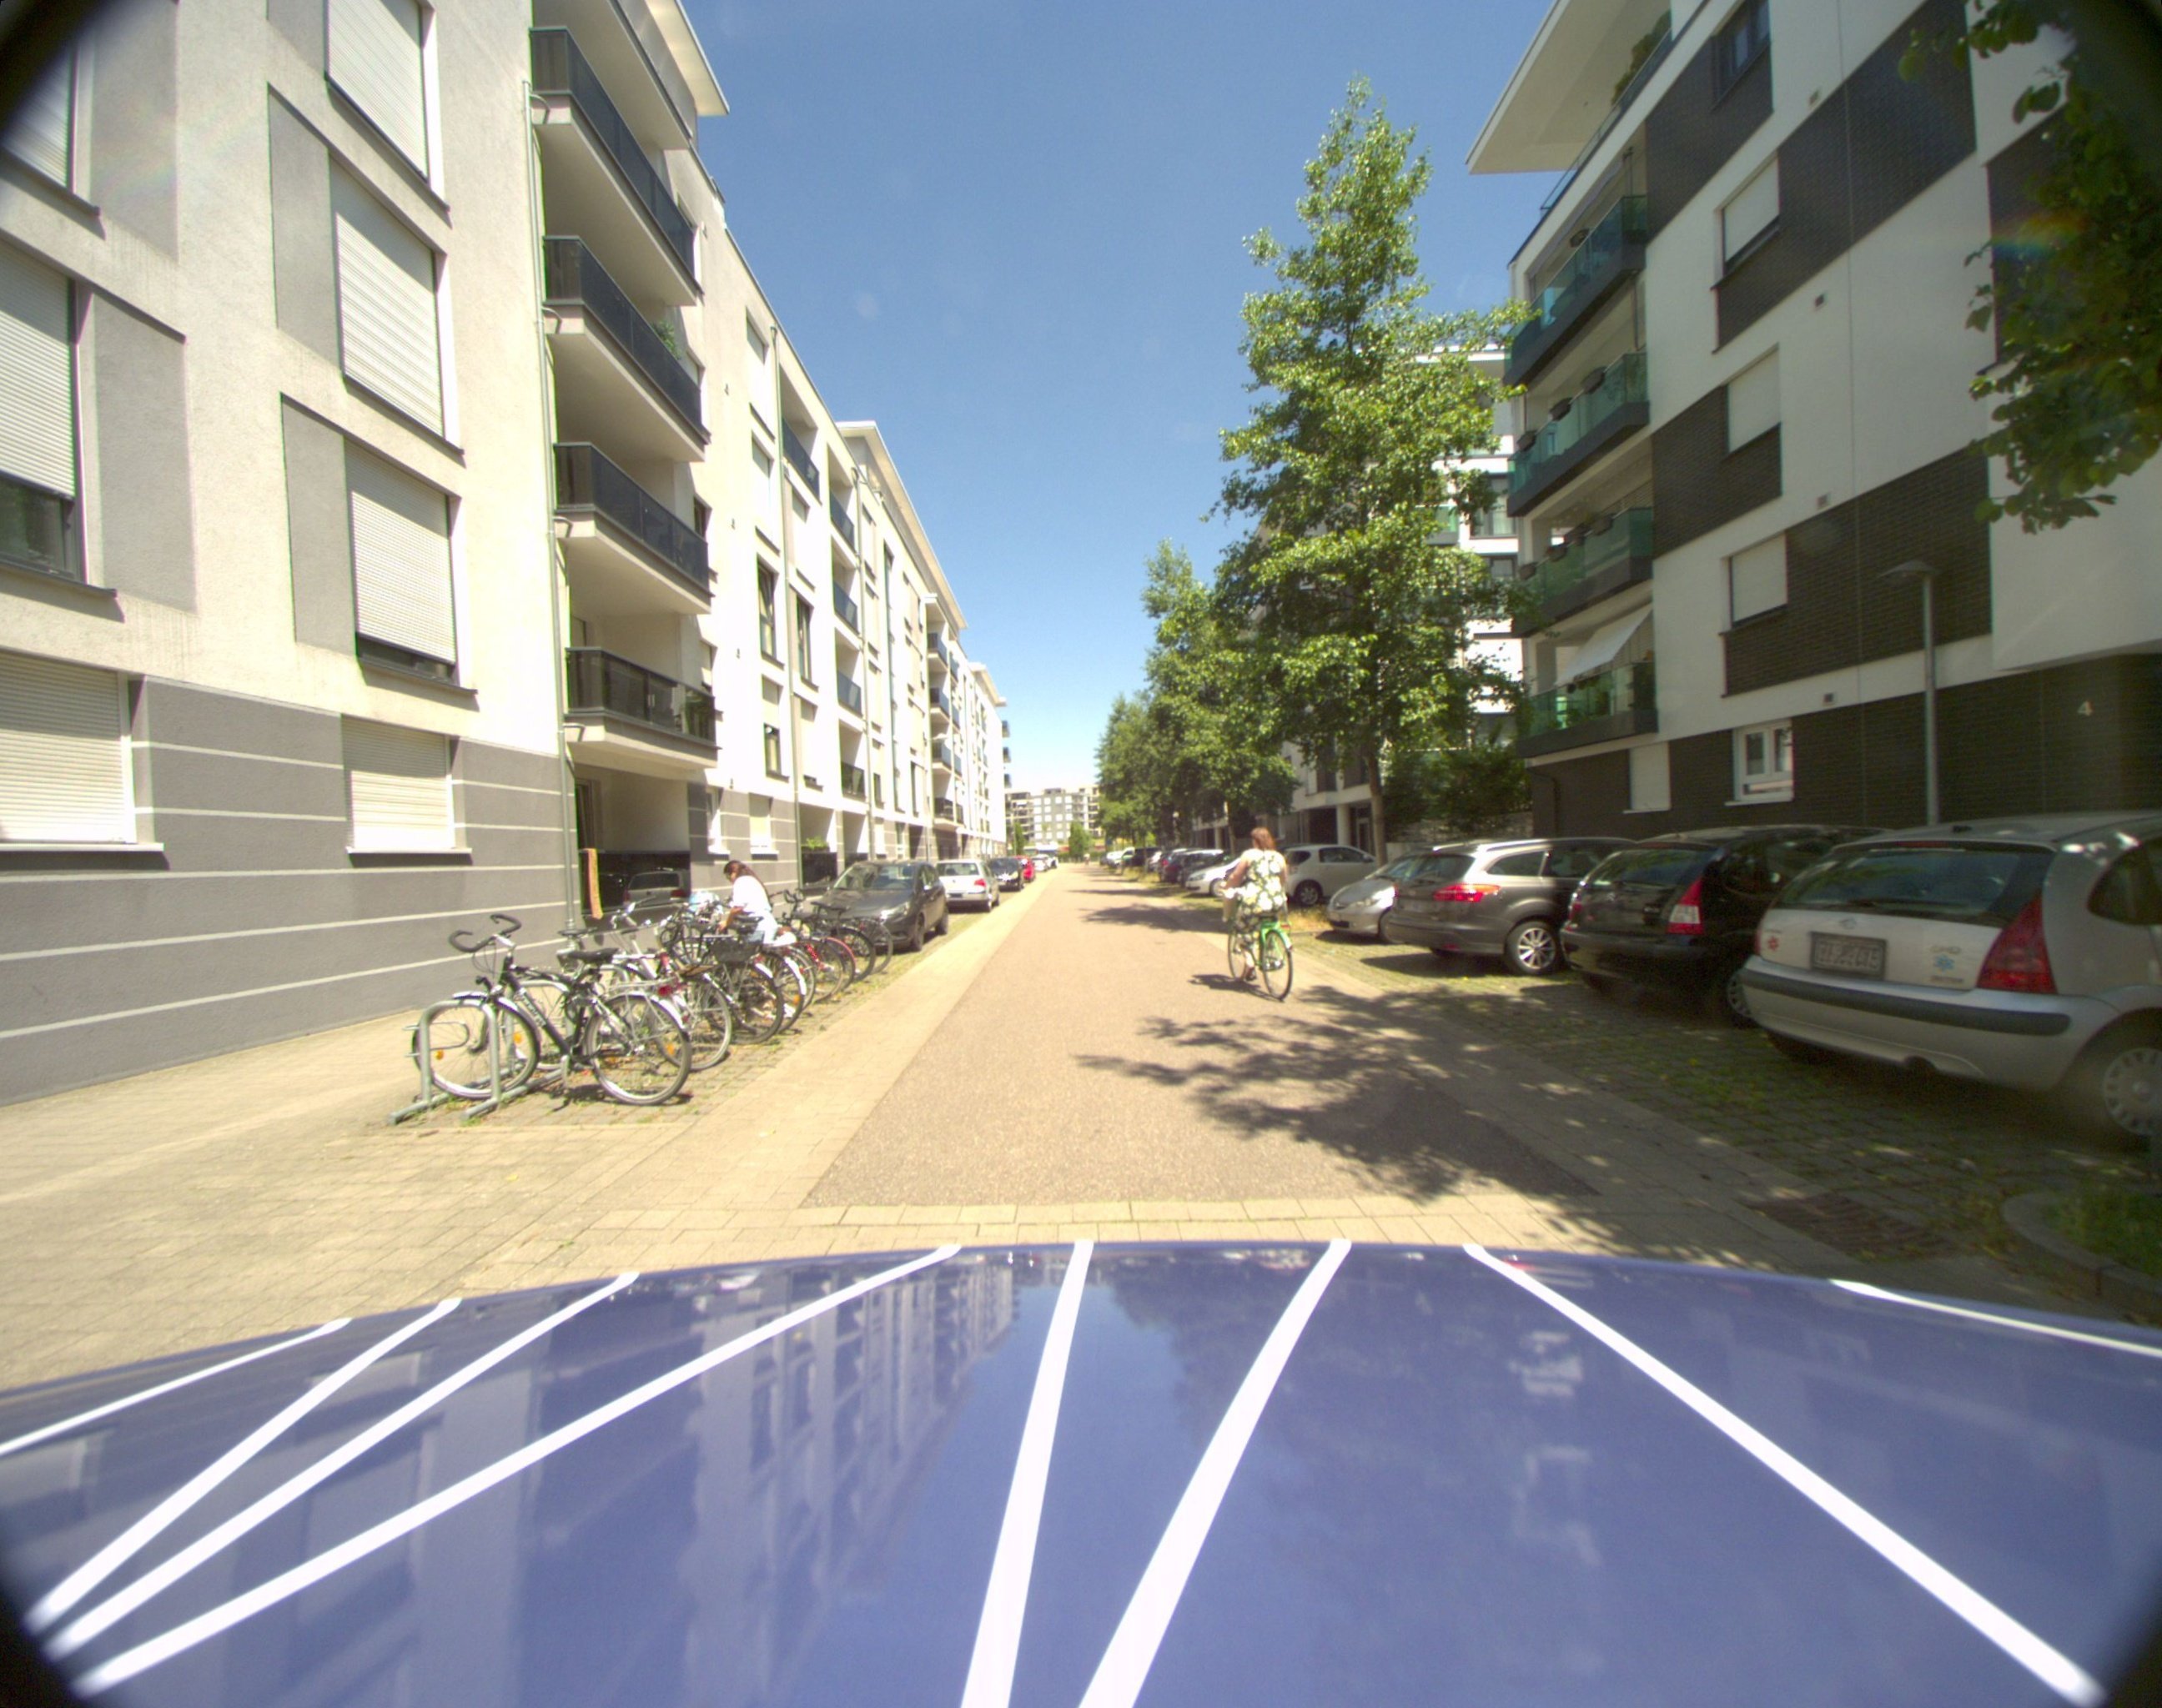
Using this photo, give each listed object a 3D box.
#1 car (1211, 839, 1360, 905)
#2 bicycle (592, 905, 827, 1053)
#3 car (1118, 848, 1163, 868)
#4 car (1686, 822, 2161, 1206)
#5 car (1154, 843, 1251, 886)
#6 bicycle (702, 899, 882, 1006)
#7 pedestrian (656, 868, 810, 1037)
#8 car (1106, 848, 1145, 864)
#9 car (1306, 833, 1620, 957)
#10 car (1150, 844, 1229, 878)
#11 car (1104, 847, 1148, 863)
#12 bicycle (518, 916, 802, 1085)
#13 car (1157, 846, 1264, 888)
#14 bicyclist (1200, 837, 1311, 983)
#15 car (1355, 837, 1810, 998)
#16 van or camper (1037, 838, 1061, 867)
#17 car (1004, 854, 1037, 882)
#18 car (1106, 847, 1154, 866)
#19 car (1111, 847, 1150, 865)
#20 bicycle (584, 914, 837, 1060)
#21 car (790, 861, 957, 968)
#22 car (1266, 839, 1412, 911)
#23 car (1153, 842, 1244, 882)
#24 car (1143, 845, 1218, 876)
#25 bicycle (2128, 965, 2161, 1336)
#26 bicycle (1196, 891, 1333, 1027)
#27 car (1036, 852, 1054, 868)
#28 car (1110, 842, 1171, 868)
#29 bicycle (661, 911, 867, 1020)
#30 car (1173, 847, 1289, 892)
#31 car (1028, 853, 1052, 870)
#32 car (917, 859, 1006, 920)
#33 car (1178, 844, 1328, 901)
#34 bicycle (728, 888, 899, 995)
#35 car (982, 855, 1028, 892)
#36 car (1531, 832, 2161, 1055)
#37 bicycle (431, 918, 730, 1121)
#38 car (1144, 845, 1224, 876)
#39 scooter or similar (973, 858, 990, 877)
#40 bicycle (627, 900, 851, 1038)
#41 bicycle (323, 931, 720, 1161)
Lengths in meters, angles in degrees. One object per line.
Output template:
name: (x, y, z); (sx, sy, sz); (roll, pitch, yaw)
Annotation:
car: (5.895, 0.496, 22.149); (3.719, 1.577, 1.820); (-4, 1, -6)
bicycle: (-3.305, 1.086, 6.920); (1.841, 1.141, 0.460); (-1, 1, -19)
car: (5.152, 0.352, 65.768); (3.633, 1.473, 1.677); (-4, 1, -1)
car: (5.898, 0.632, 4.172); (3.639, 1.512, 1.831); (-4, 1, 0)
car: (5.413, 0.467, 34.221); (3.997, 1.641, 1.918); (-4, 1, 1)
bicycle: (-3.315, 1.119, 8.860); (1.791, 1.098, 0.746); (-1, 1, -4)
pedestrian: (-3.328, 0.909, 7.373); (1.182, 1.506, 0.687); (-1, 1, -10)
car: (5.185, 0.196, 88.593); (4.263, 1.522, 1.822); (-4, 0, -4)
car: (5.836, 0.592, 11.985); (3.948, 1.544, 1.872); (-4, 0, -1)
car: (5.904, 0.390, 41.658); (3.997, 1.582, 1.883); (-4, 0, 0)
car: (5.339, 0.104, 91.313); (5.042, 1.623, 2.042); (-3, 0, -3)
bicycle: (-3.263, 1.103, 5.949); (1.927, 1.172, 0.638); (-1, 1, 9)
car: (5.322, 0.527, 31.576); (3.985, 1.437, 1.774); (-4, 1, -4)
bicyclist: (1.840, 0.572, 8.127); (0.956, 1.451, 0.799); (-2, 1, -1)
car: (5.763, 0.643, 9.090); (4.192, 1.478, 1.957); (-3, 2, -4)
van or camper: (-3.531, -0.227, 84.712); (2.445, 2.889, 7.824); (-3, 1, -2)
car: (-3.360, 0.776, 42.722); (1.599, 1.477, 3.675); (0, 0, 0)
car: (5.028, 0.251, 78.735); (4.571, 1.585, 1.965); (-4, 1, -5)
car: (5.285, 0.185, 81.367); (3.990, 1.620, 1.949); (-4, 1, 2)
bicycle: (-3.168, 1.111, 6.555); (1.927, 1.127, 0.609); (-1, 1, 9)
car: (-3.385, 0.910, 13.248); (1.743, 1.476, 4.228); (-1, 0, 0)
car: (6.423, 0.507, 19.150); (2.940, 1.491, 1.848); (-5, 1, -2)
car: (5.641, 0.380, 36.746); (3.997, 1.620, 1.933); (-4, 1, 0)
car: (6.048, 0.370, 46.666); (4.263, 1.509, 1.924); (-4, 1, -1)
bicycle: (3.815, 0.954, 1.646); (0.372, 1.173, 1.819); (-2, 1, -12)
bicycle: (1.874, 1.030, 8.117); (0.901, 1.122, 2.039); (-2, 0, -1)
car: (-3.691, 0.588, 78.436); (1.812, 1.496, 4.259); (-1, 0, -3)
car: (5.333, 0.073, 68.558); (5.355, 2.098, 2.187); (-2, 1, 1)
bicycle: (-3.359, 1.171, 8.166); (1.929, 1.029, 0.559); (-1, 1, -4)
car: (5.663, 0.571, 29.102); (3.997, 1.414, 1.897); (-4, 0, 0)
car: (-3.721, 0.690, 69.424); (1.850, 1.408, 4.425); (-2, 1, 0)
car: (-3.267, 0.916, 21.567); (1.839, 1.496, 4.350); (-1, 0, 0)
car: (5.478, 0.567, 24.563); (4.372, 1.700, 1.999); (0, 0, -3)
bicycle: (-3.332, 1.082, 9.606); (1.875, 1.211, 0.715); (-1, 1, -4)
car: (-3.243, 0.806, 32.954); (1.647, 1.454, 4.117); (-1, 0, -1)
car: (6.368, 0.651, 6.449); (3.996, 1.546, 1.800); (-2, 1, 2)
bicycle: (-3.390, 1.097, 5.266); (1.555, 1.211, 0.707); (-1, 1, -2)
car: (5.939, 0.372, 44.219); (4.327, 1.467, 1.792); (-4, 0, -1)
scooter or similar: (-6.939, 0.935, 53.035); (0.546, 1.218, 1.531); (-3, 0, 14)
bicycle: (-3.322, 1.099, 7.503); (1.930, 1.211, 0.460); (-1, 1, -9)
bicycle: (-3.274, 1.109, 4.558); (1.864, 1.186, 0.687); (-1, 1, 3)
